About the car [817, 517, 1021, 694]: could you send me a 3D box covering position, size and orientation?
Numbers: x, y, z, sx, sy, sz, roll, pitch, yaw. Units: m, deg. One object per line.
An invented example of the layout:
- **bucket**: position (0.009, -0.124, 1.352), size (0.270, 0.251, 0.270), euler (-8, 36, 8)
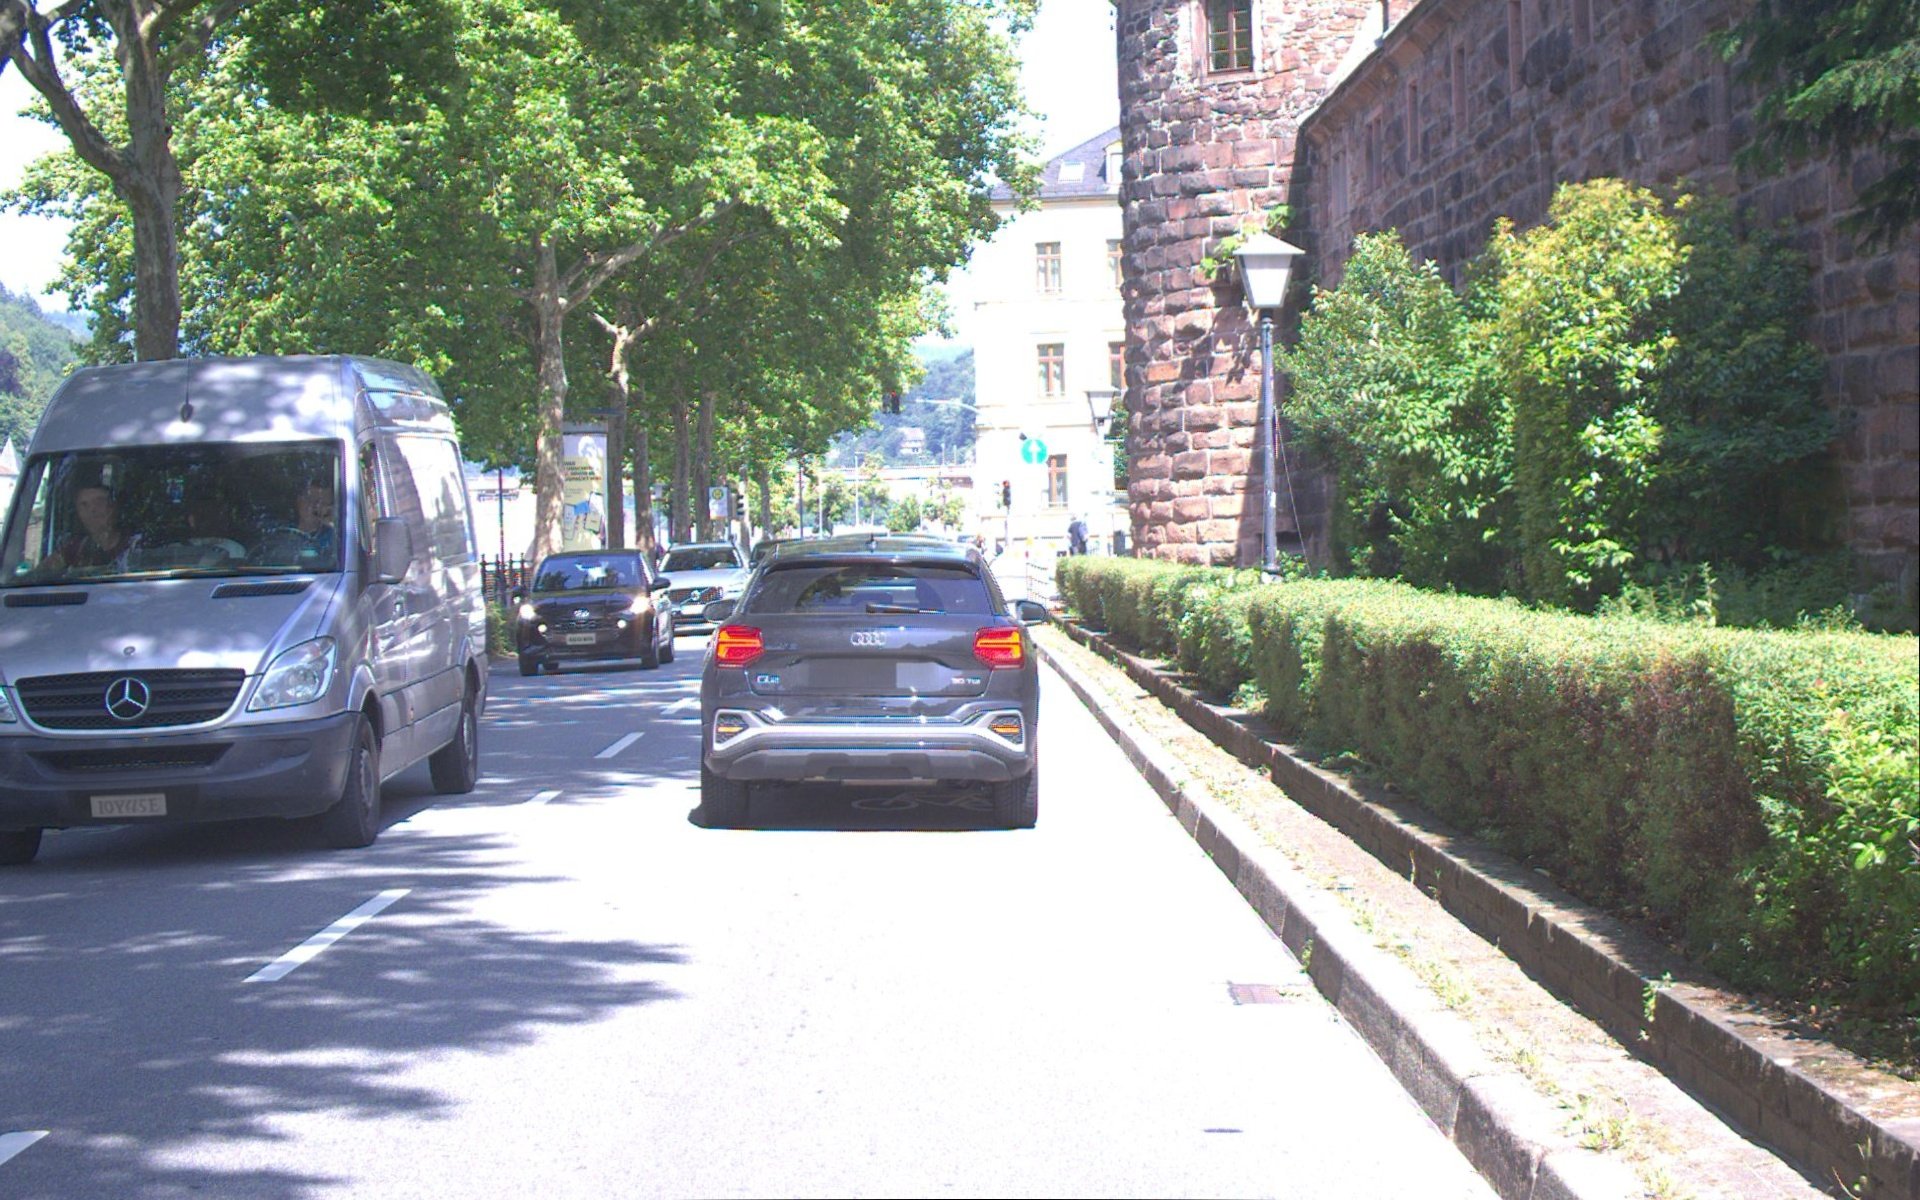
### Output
- **car**: position (-0.354, 0.007, 32.575), size (1.801, 1.557, 3.716), euler (-1, 1, 0)

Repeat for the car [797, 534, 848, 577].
- **car**: position (-5.060, -1.658, 126.735), size (1.615, 1.518, 3.476), euler (-1, 1, 1)

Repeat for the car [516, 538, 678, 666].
- **car**: position (-4.408, -0.007, 42.219), size (1.649, 1.464, 3.780), euler (-1, 1, -1)

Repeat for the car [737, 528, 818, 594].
- **car**: position (-4.692, -1.039, 88.899), size (1.763, 1.642, 4.090), euler (-1, 1, 1)

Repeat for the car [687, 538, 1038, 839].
- **car**: position (-0.536, 0.414, 19.091), size (1.748, 1.489, 3.629), euler (1, 1, -1)

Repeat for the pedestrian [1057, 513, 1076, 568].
- **pedestrian**: position (3.175, -1.772, 102.490), size (0.557, 1.627, 0.660), euler (0, 1, 1)

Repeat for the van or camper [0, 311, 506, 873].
- **van or camper**: position (-3.943, -0.074, 19.095), size (1.961, 2.558, 5.841), euler (-3, 1, 0)

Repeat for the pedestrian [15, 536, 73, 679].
- **pedestrian**: position (-10.075, 0.076, 37.818), size (0.457, 1.549, 0.586), euler (-1, 1, -1)

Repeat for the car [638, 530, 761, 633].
- **car**: position (-4.608, -0.351, 61.289), size (1.877, 1.692, 4.259), euler (-3, 1, -1)
